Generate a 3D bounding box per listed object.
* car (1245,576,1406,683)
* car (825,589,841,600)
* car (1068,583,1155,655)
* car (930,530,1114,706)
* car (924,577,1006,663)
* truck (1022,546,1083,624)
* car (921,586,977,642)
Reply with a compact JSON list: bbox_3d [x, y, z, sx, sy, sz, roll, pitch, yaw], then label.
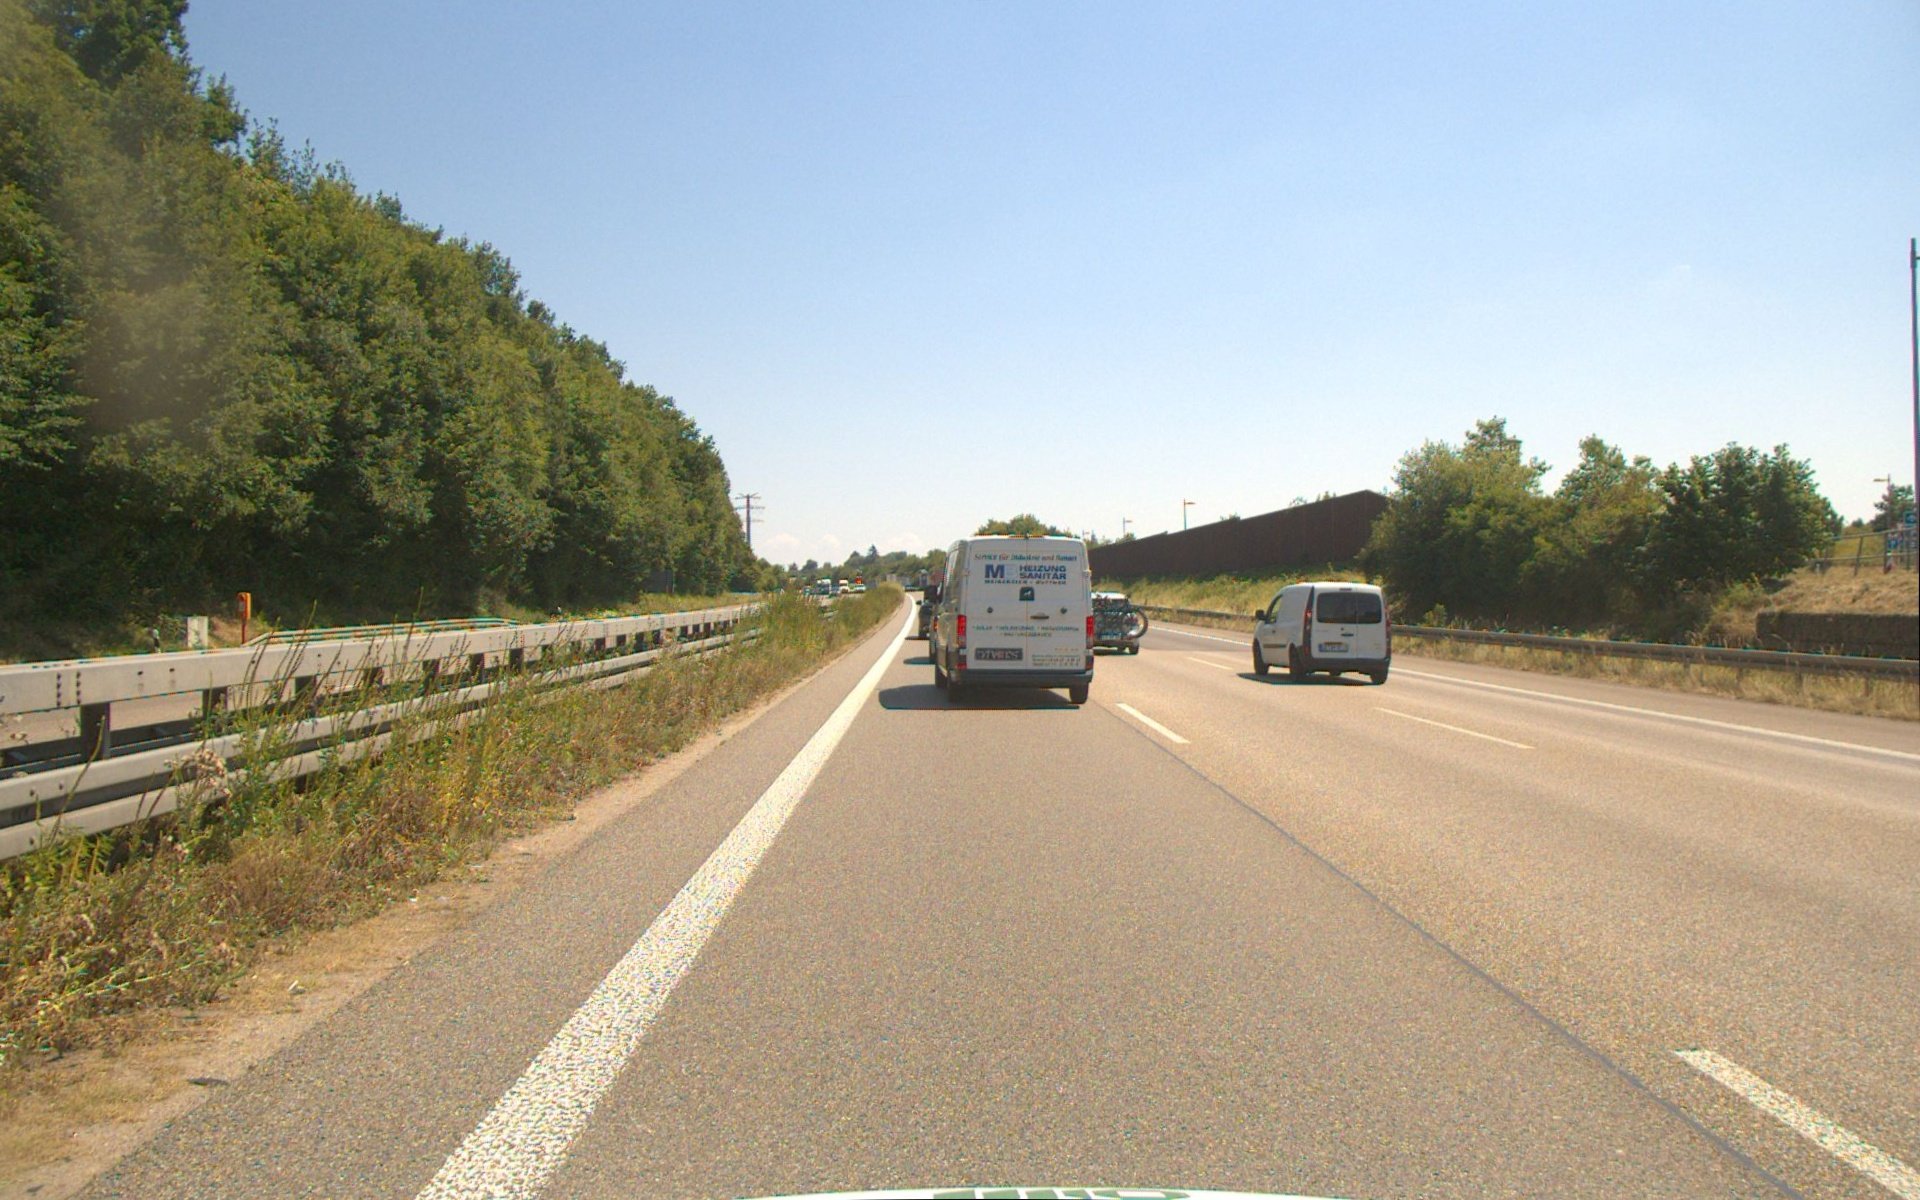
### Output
[{"bbox_3d":[6.825,0.536,31.359,1.912,1.870,4.175,-1,0,-3],"label":"car"},{"bbox_3d":[-18.754,-0.773,244.489,1.953,1.545,4.721,-2,0,-1],"label":"car"},{"bbox_3d":[3.882,0.489,43.006,1.935,1.763,4.089,-1,0,1],"label":"car"},{"bbox_3d":[0.778,0.258,24.491,2.139,2.293,5.358,1,0,-4],"label":"car"},{"bbox_3d":[0.144,0.440,36.877,1.709,1.795,4.089,-1,0,1],"label":"car"},{"bbox_3d":[6.395,-0.961,116.765,3.710,5.087,12.519,1,0,1],"label":"truck"},{"bbox_3d":[-0.322,0.447,53.706,1.709,1.731,4.089,-1,0,1],"label":"car"}]
